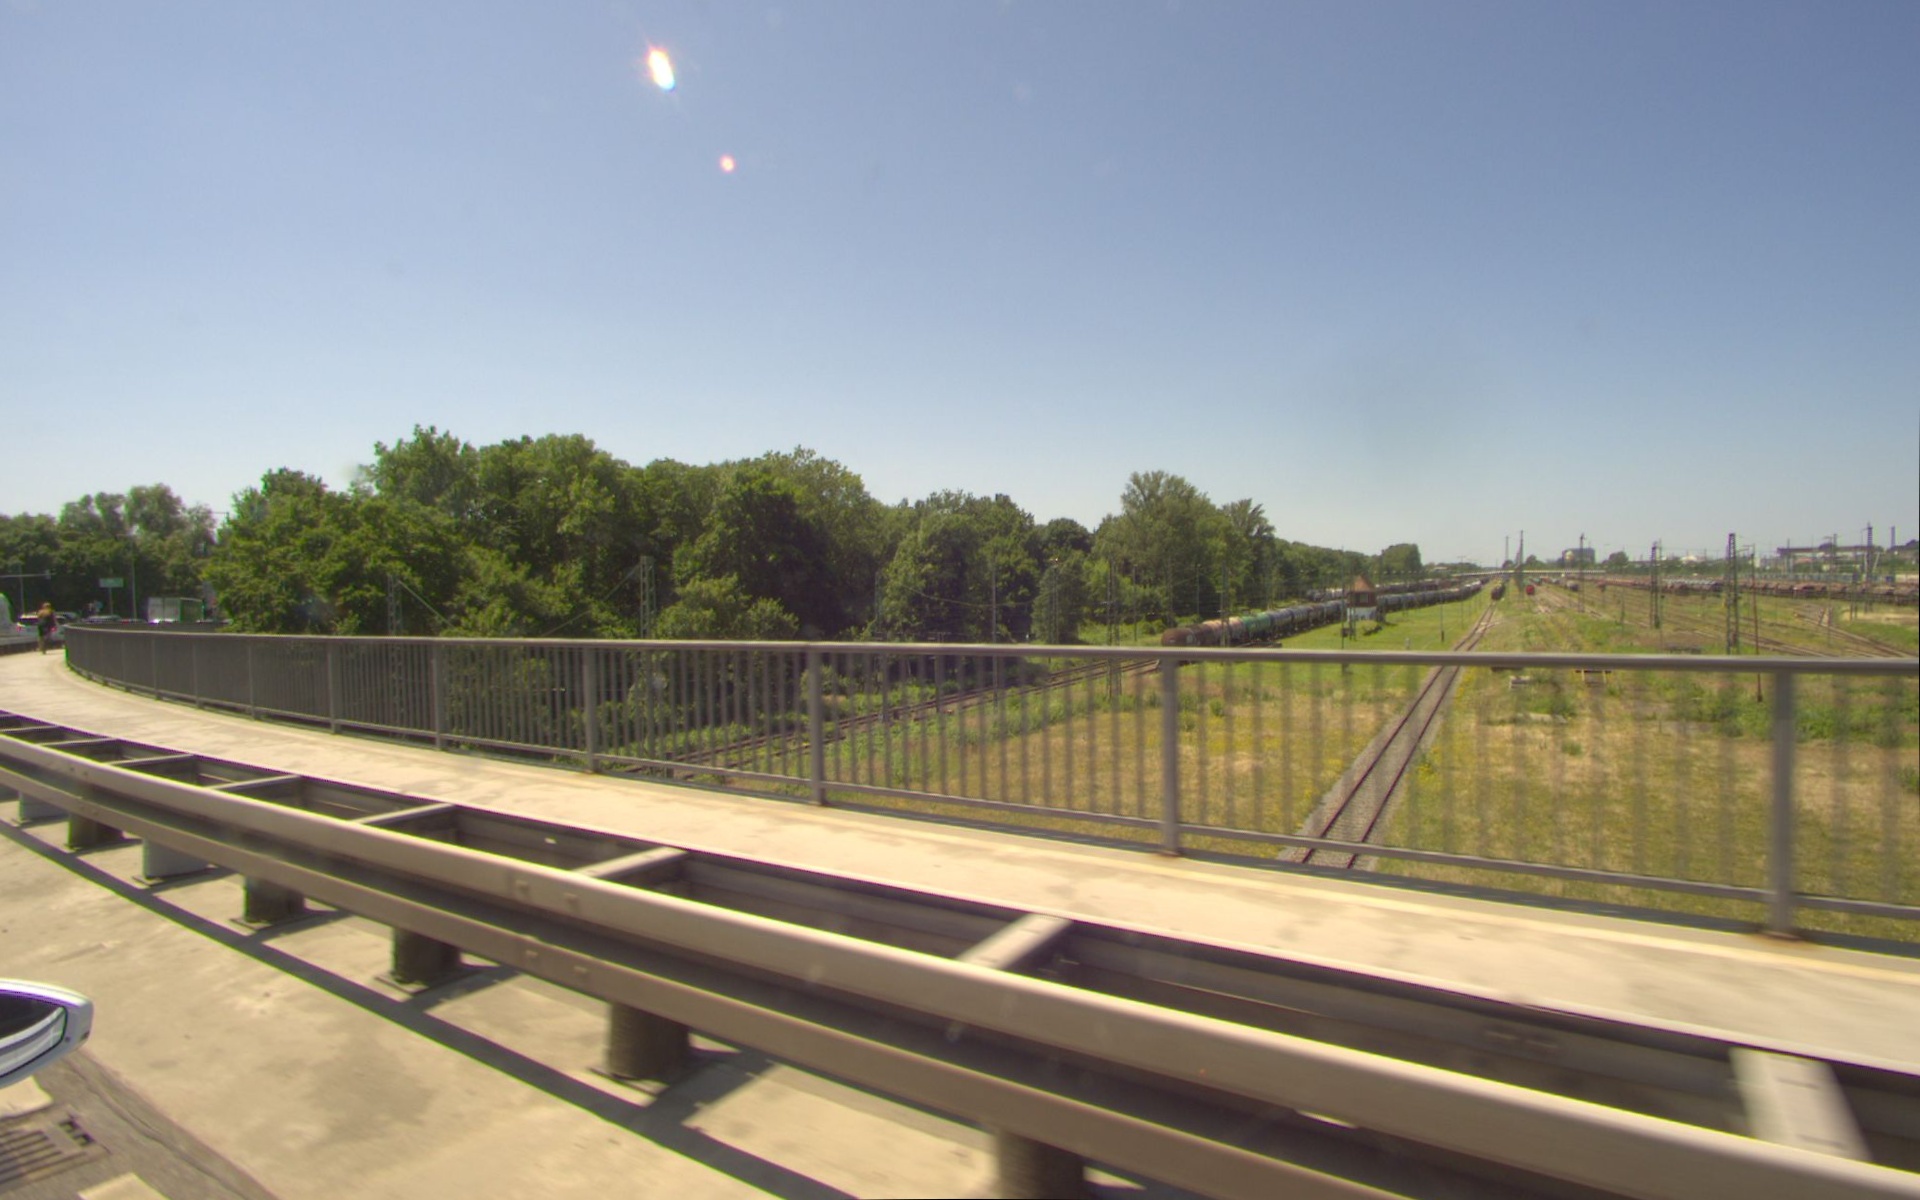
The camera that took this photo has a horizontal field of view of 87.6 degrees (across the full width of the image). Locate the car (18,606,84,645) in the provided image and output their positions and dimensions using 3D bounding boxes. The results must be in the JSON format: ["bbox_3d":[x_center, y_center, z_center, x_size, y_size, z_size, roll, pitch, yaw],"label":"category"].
[{"bbox_3d":[-46.326,1.262,51.106,1.702,1.868,3.978,1,0,-31],"label":"car"}]

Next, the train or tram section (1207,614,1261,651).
[{"bbox_3d":[38.626,4.515,140.730,3.796,4.365,13.559,-2,1,31],"label":"train or tram section"}]

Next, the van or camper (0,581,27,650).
[{"bbox_3d":[-41.616,0.659,42.397,2.133,2.852,6.345,1,-1,-34],"label":"van or camper"}]

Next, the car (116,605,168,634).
[{"bbox_3d":[-54.381,1.273,66.647,1.699,1.868,3.985,1,-1,-25],"label":"car"}]

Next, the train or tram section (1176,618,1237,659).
[{"bbox_3d":[31.901,4.907,128.985,3.795,4.365,13.563,-2,1,30],"label":"train or tram section"}]

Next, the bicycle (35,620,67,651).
[{"bbox_3d":[-32.170,1.234,35.450,0.576,1.049,1.475,-3,1,-34],"label":"bicycle"}]

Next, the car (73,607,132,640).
[{"bbox_3d":[-50.238,1.356,58.738,1.700,1.826,3.984,1,-1,-26],"label":"car"}]

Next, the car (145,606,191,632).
[{"bbox_3d":[-57.164,1.356,72.368,1.699,1.868,3.985,1,-1,-25],"label":"car"}]

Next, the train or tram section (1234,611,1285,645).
[{"bbox_3d":[45.660,4.131,152.247,3.798,4.365,13.551,-2,1,33],"label":"train or tram section"}]

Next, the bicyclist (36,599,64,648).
[{"bbox_3d":[-32.198,0.821,35.448,0.572,1.705,0.724,-3,2,-35],"label":"bicyclist"}]

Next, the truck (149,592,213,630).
[{"bbox_3d":[-63.601,0.911,81.869,2.302,2.911,5.928,0,-1,-19],"label":"truck"}]

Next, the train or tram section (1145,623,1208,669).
[{"bbox_3d":[25.471,5.285,116.987,3.792,4.365,13.575,-2,1,27],"label":"train or tram section"}]
